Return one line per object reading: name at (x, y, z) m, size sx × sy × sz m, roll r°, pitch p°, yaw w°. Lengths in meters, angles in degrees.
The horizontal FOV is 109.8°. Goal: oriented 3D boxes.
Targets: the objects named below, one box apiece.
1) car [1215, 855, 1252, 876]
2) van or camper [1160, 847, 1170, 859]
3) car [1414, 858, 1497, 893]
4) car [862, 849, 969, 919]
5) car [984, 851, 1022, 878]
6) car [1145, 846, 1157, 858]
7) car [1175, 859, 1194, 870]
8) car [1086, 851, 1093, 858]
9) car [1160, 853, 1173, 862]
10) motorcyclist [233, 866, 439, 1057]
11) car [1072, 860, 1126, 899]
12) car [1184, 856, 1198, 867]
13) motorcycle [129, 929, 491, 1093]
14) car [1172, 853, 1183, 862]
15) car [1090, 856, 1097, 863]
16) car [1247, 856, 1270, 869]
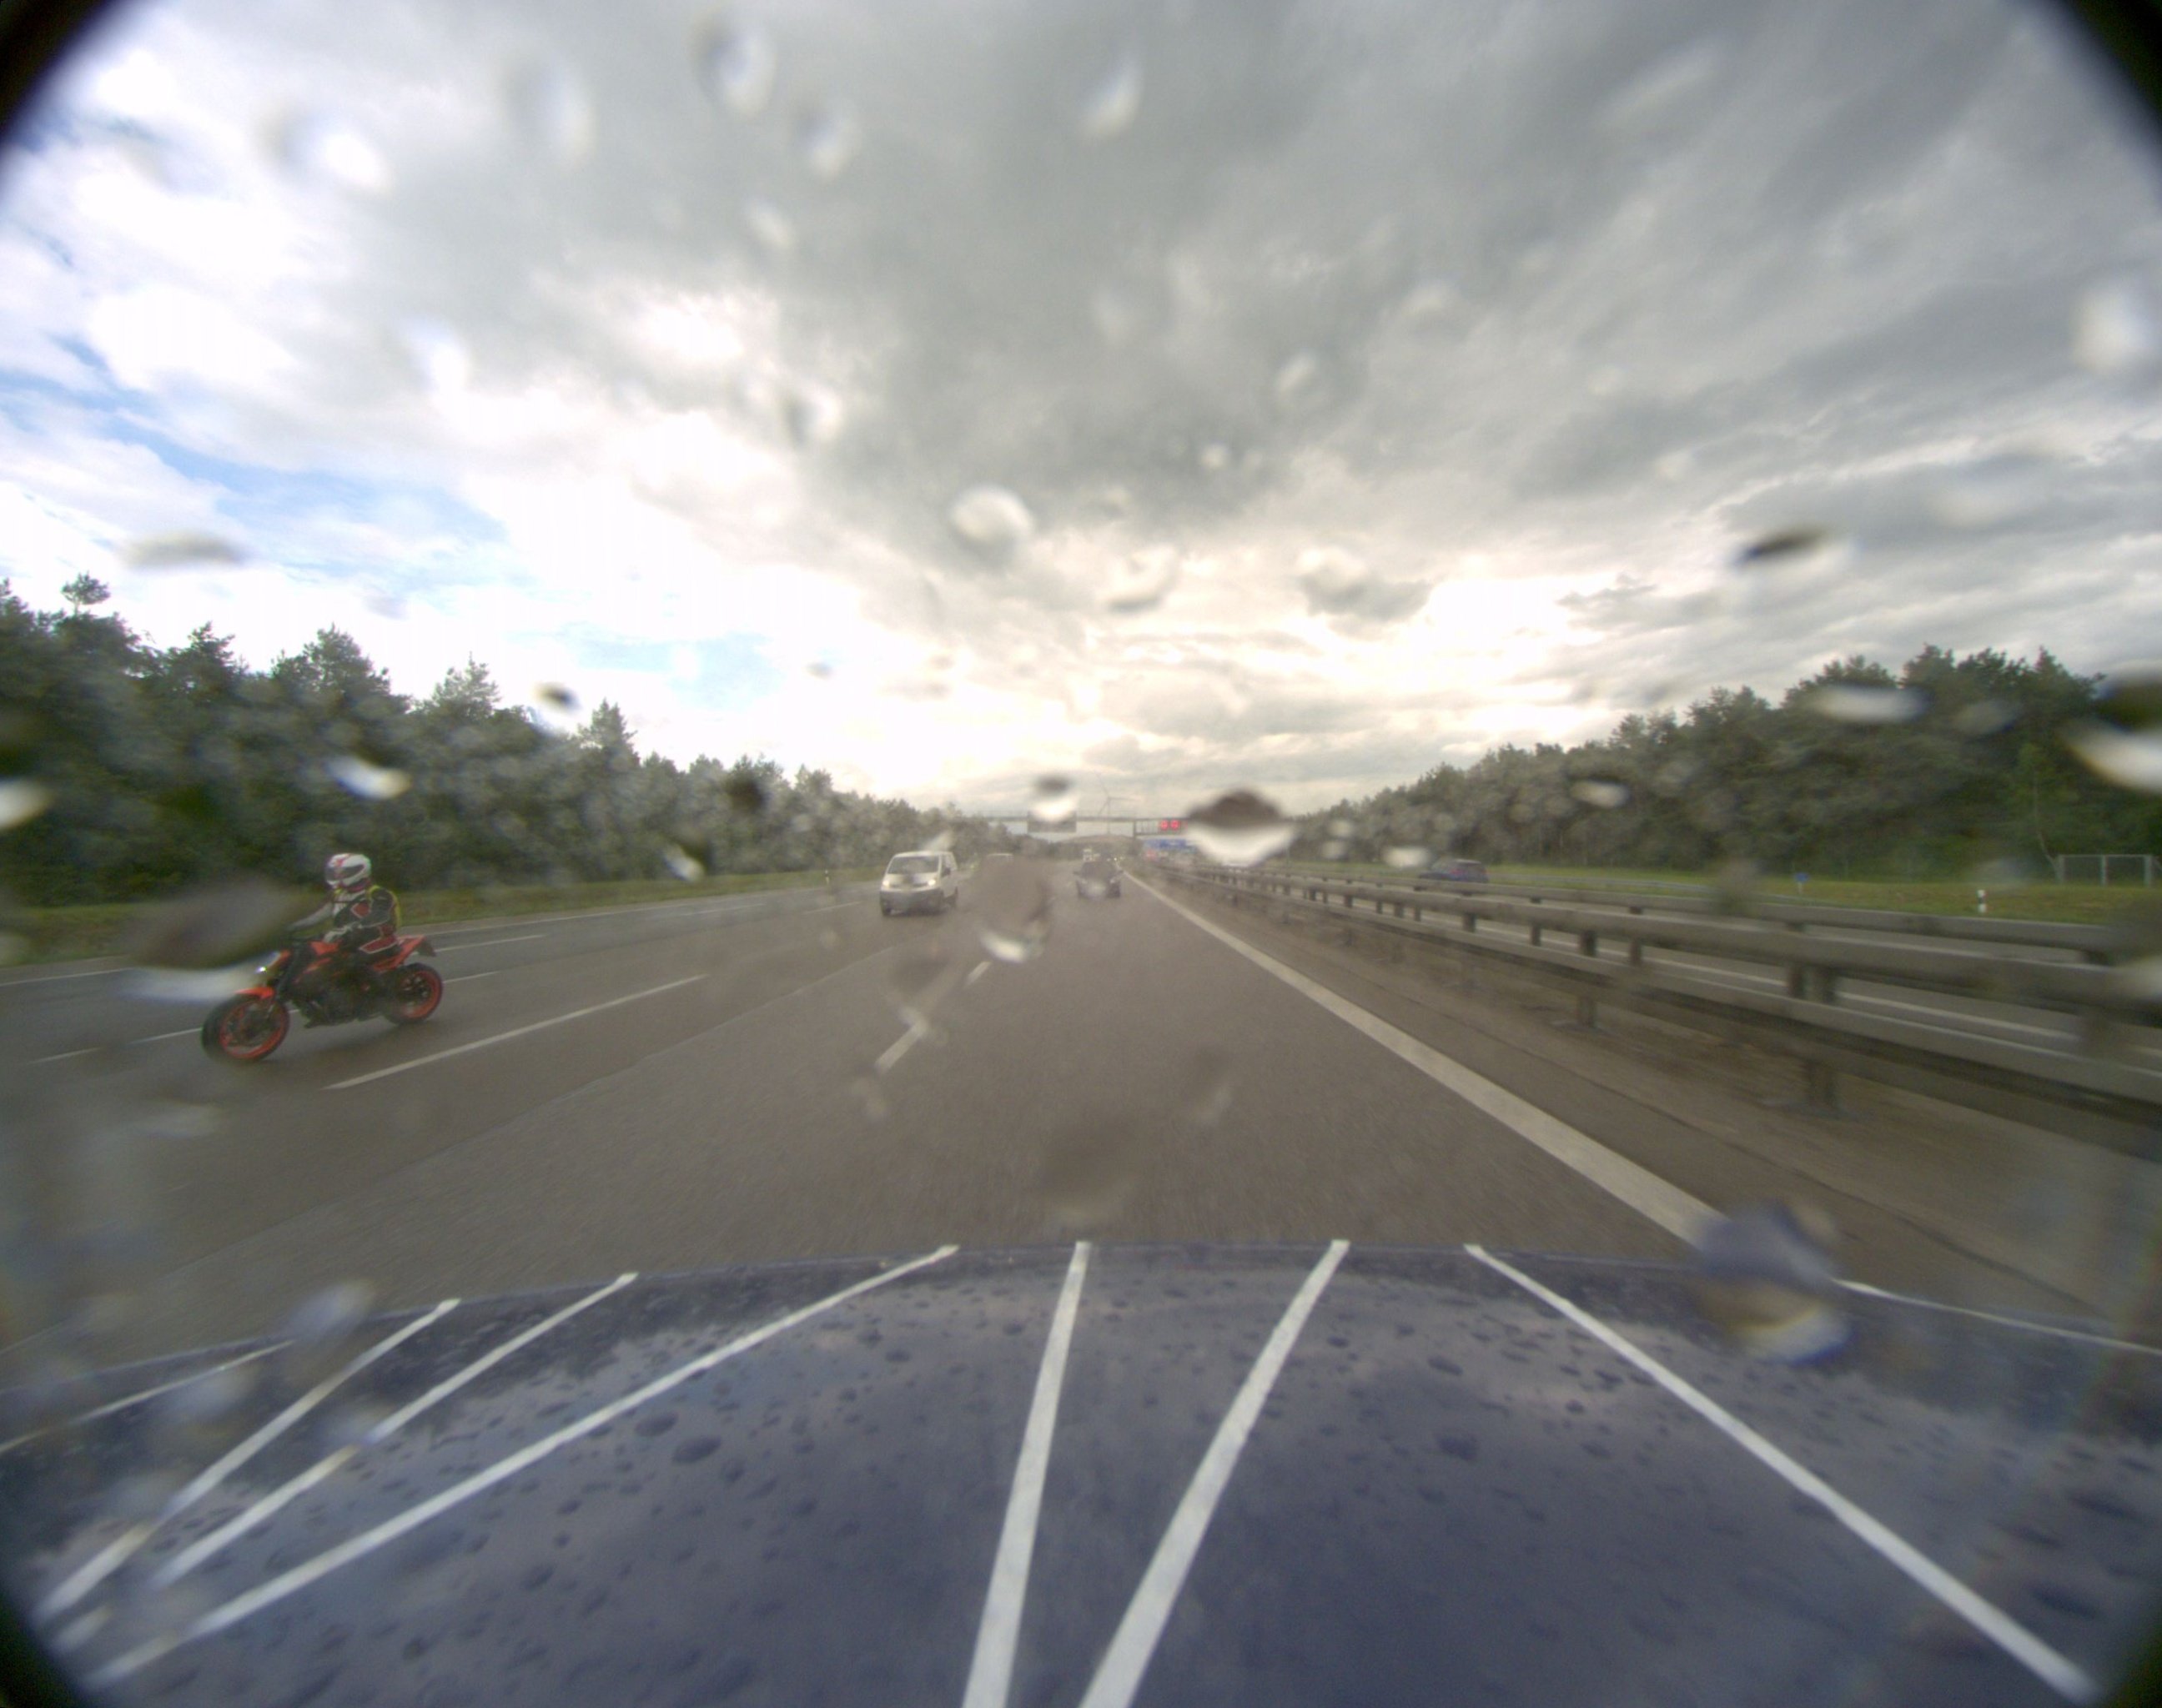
car at (10.168, 0.744, 50.860) m, size 1.697 × 1.368 × 4.000 m, roll -1°, pitch 0°, yaw 1°
van or camper at (22.964, -0.202, 207.671) m, size 2.306 × 3.094 × 7.546 m, roll 1°, pitch 0°, yaw 4°
car at (18.335, 0.992, 37.457) m, size 1.905 × 1.539 × 4.513 m, roll 2°, pitch 0°, yaw 1°
car at (-4.874, 0.819, 23.207) m, size 1.968 × 1.890 × 4.882 m, roll -1°, pitch 0°, yaw 3°
car at (-6.121, 0.807, 60.552) m, size 1.998 × 2.002 × 5.485 m, roll -2°, pitch 0°, yaw 5°
car at (15.156, -0.406, 164.971) m, size 2.138 × 2.646 × 6.674 m, roll 0°, pitch 0°, yaw 1°
car at (12.325, 1.223, 90.563) m, size 1.698 × 1.252 × 4.062 m, roll 0°, pitch 0°, yaw 1°
car at (2.593, 0.120, 237.253) m, size 1.998 × 2.002 × 4.000 m, roll 0°, pitch 0°, yaw 2°
car at (14.105, 0.558, 125.487) m, size 1.794 × 1.533 × 3.722 m, roll 1°, pitch 0°, yaw 3°
motorcyclist at (-6.784, 0.928, 6.984) m, size 0.893 × 1.605 × 0.959 m, roll -1°, pitch 1°, yaw 2°
car at (0.763, 0.950, 29.728) m, size 1.809 × 1.321 × 4.433 m, roll -1°, pitch 0°, yaw 5°
car at (16.884, 1.129, 116.864) m, size 1.757 × 1.570 × 3.847 m, roll -1°, pitch 0°, yaw 1°
motorcycle at (-6.770, 1.318, 6.920) m, size 1.002 × 1.025 × 2.174 m, roll -1°, pitch 0°, yaw 2°
car at (18.758, 0.666, 147.564) m, size 1.756 × 1.570 × 3.954 m, roll -1°, pitch 0°, yaw 4°
car at (3.535, 1.509, 215.283) m, size 1.998 × 2.002 × 4.000 m, roll 0°, pitch 0°, yaw 2°
car at (20.534, 0.963, 87.894) m, size 1.728 × 1.388 × 4.184 m, roll 2°, pitch 0°, yaw 1°
